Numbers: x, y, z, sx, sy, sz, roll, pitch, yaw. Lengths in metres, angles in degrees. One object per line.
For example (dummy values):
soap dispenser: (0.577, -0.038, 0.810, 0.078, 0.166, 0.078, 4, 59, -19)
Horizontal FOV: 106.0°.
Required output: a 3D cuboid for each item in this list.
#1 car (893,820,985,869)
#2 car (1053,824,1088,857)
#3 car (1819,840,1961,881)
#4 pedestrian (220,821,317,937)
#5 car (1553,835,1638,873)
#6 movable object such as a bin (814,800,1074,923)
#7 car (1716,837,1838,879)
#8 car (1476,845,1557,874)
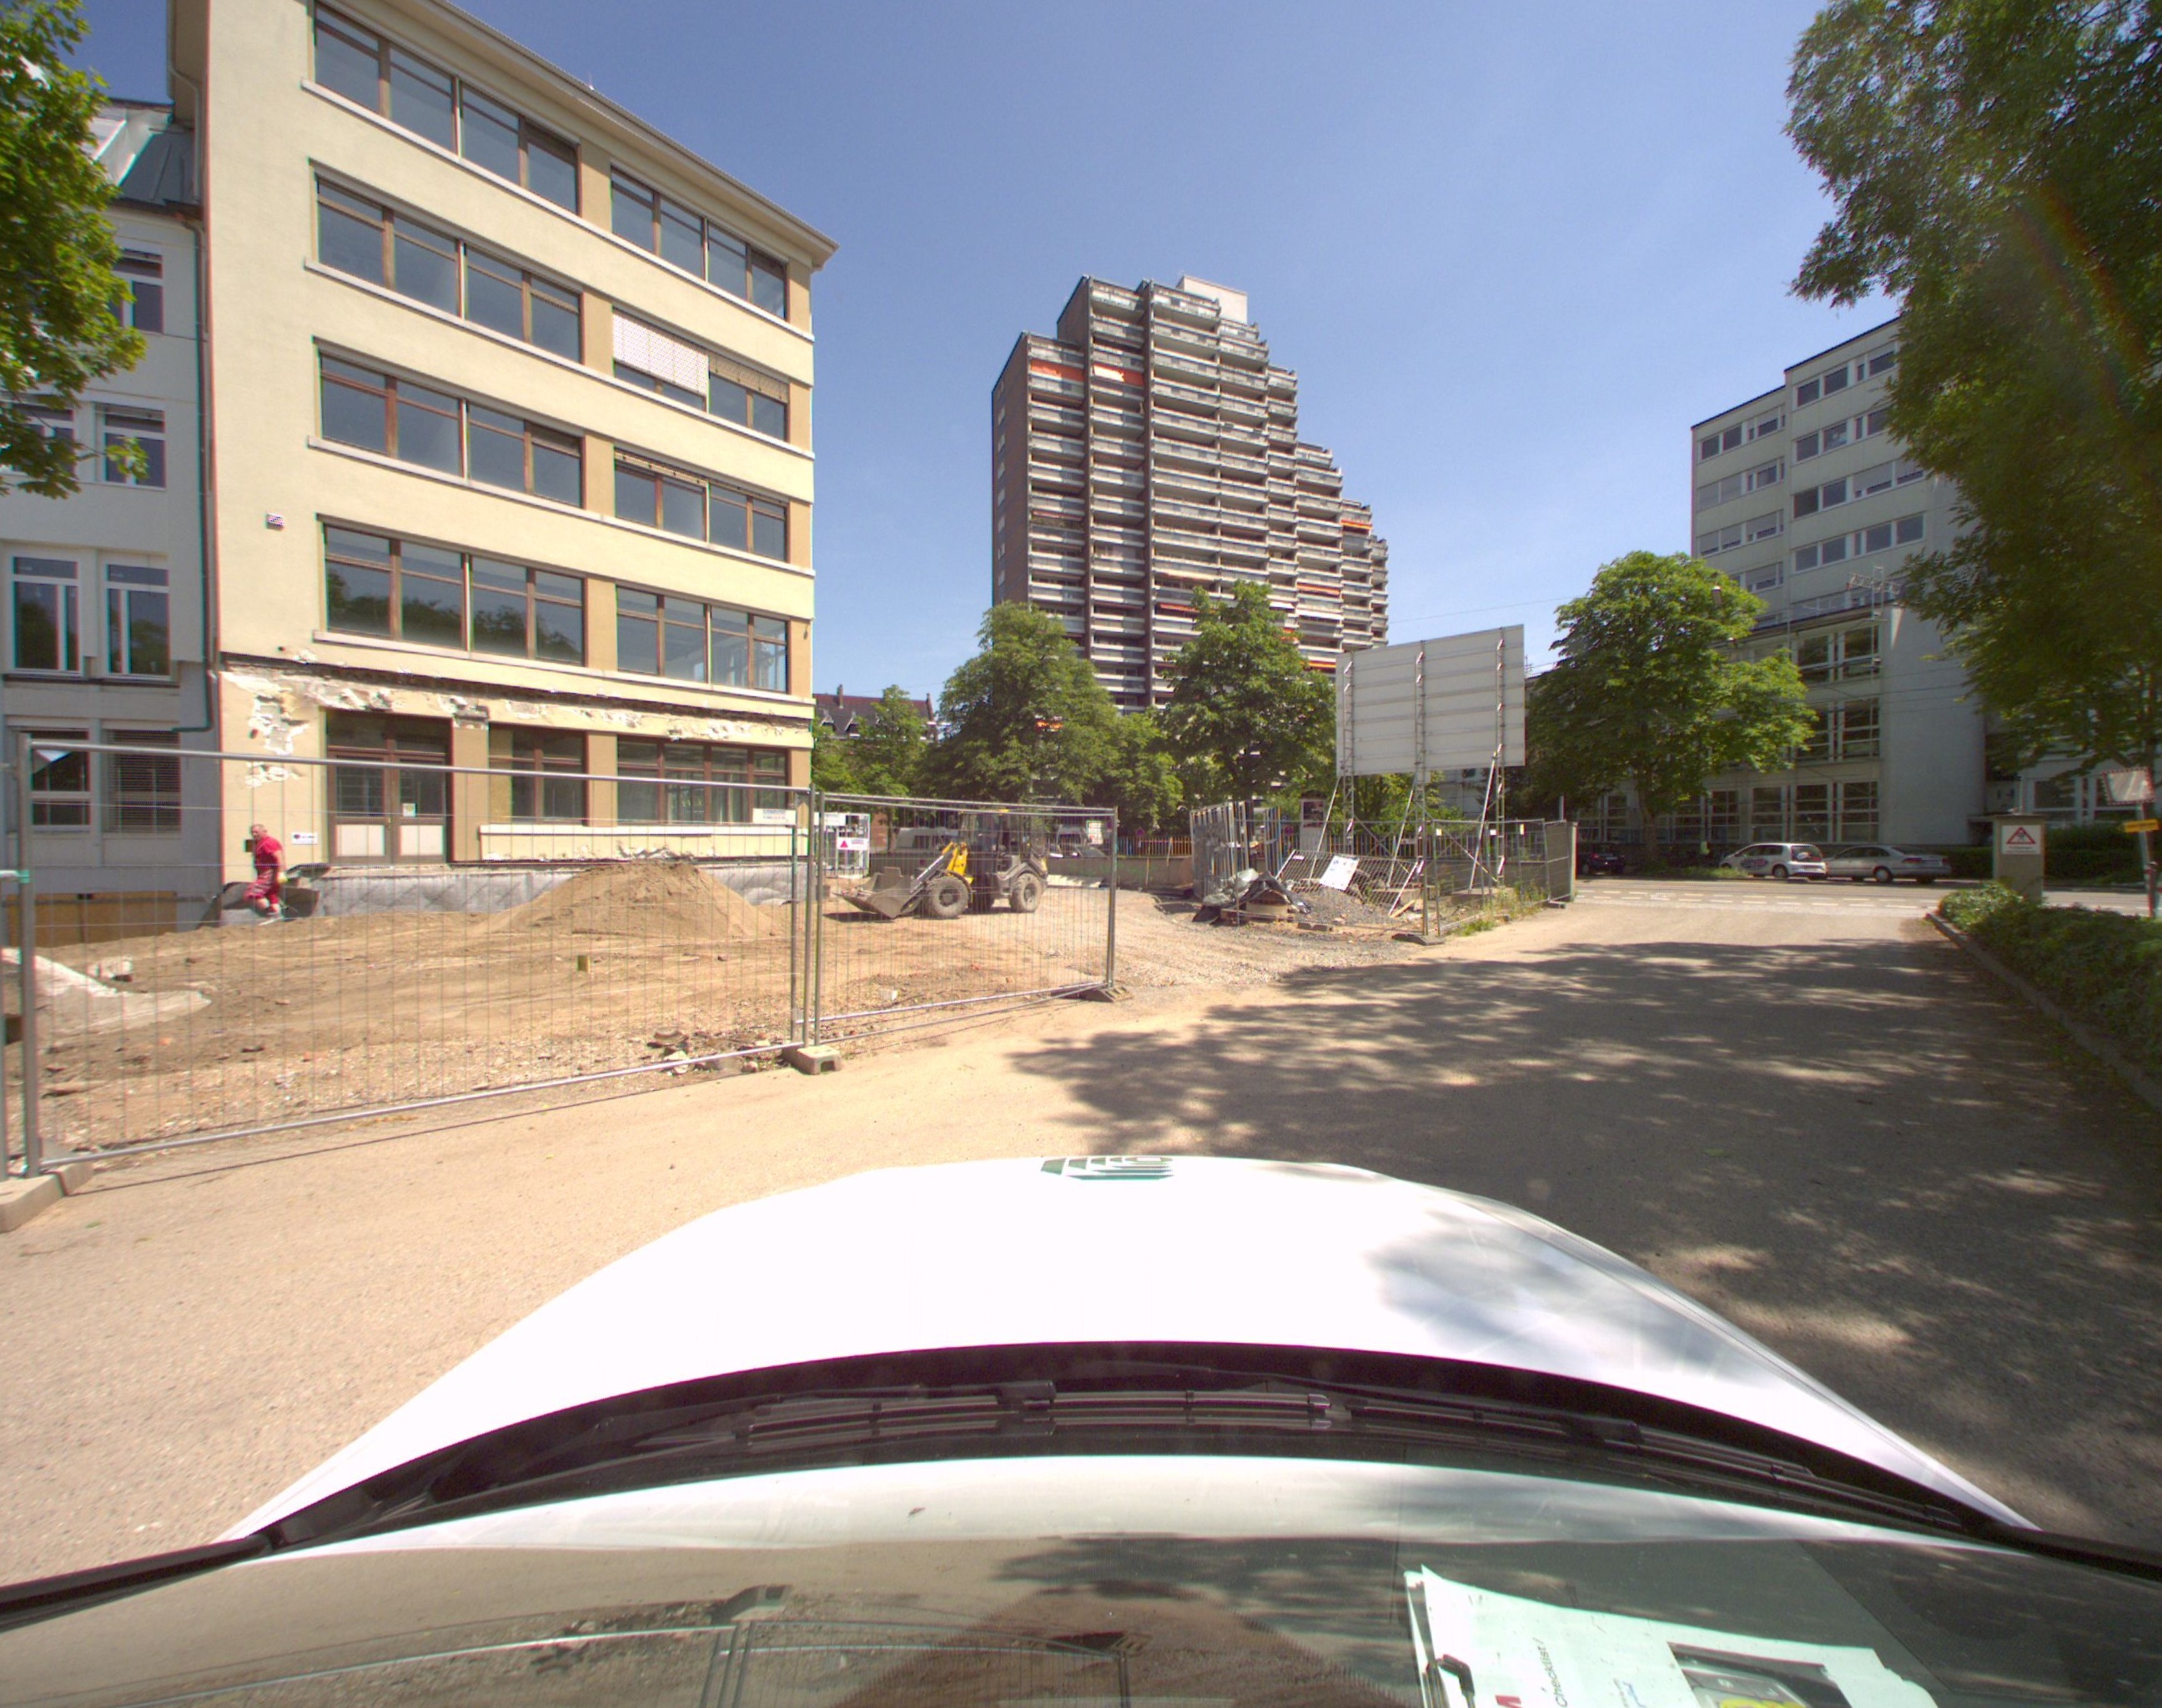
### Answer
car: (-7.592, -0.472, 43.171, 5.176, 2.416, 2.012, 0, 0, 42)
car: (-0.690, -0.960, 58.246, 2.175, 2.258, 4.872, -1, 0, 3)
car: (30.187, 0.224, 30.552, 1.658, 1.415, 3.711, -1, 0, 0)
pedestrian: (-13.597, 0.388, 13.635, 0.905, 1.846, 0.992, -1, 0, 35)
car: (23.304, -0.014, 37.077, 1.998, 1.629, 3.943, -1, 0, 11)
movable object such as a bin: (-3.069, 0.110, 18.750, 5.441, 2.464, 2.343, 0, 1, -34)
car: (28.017, 0.146, 32.927, 1.660, 1.589, 3.688, -1, 0, -4)
car: (20.721, 0.230, 38.898, 1.906, 1.310, 3.933, -1, 0, 3)
